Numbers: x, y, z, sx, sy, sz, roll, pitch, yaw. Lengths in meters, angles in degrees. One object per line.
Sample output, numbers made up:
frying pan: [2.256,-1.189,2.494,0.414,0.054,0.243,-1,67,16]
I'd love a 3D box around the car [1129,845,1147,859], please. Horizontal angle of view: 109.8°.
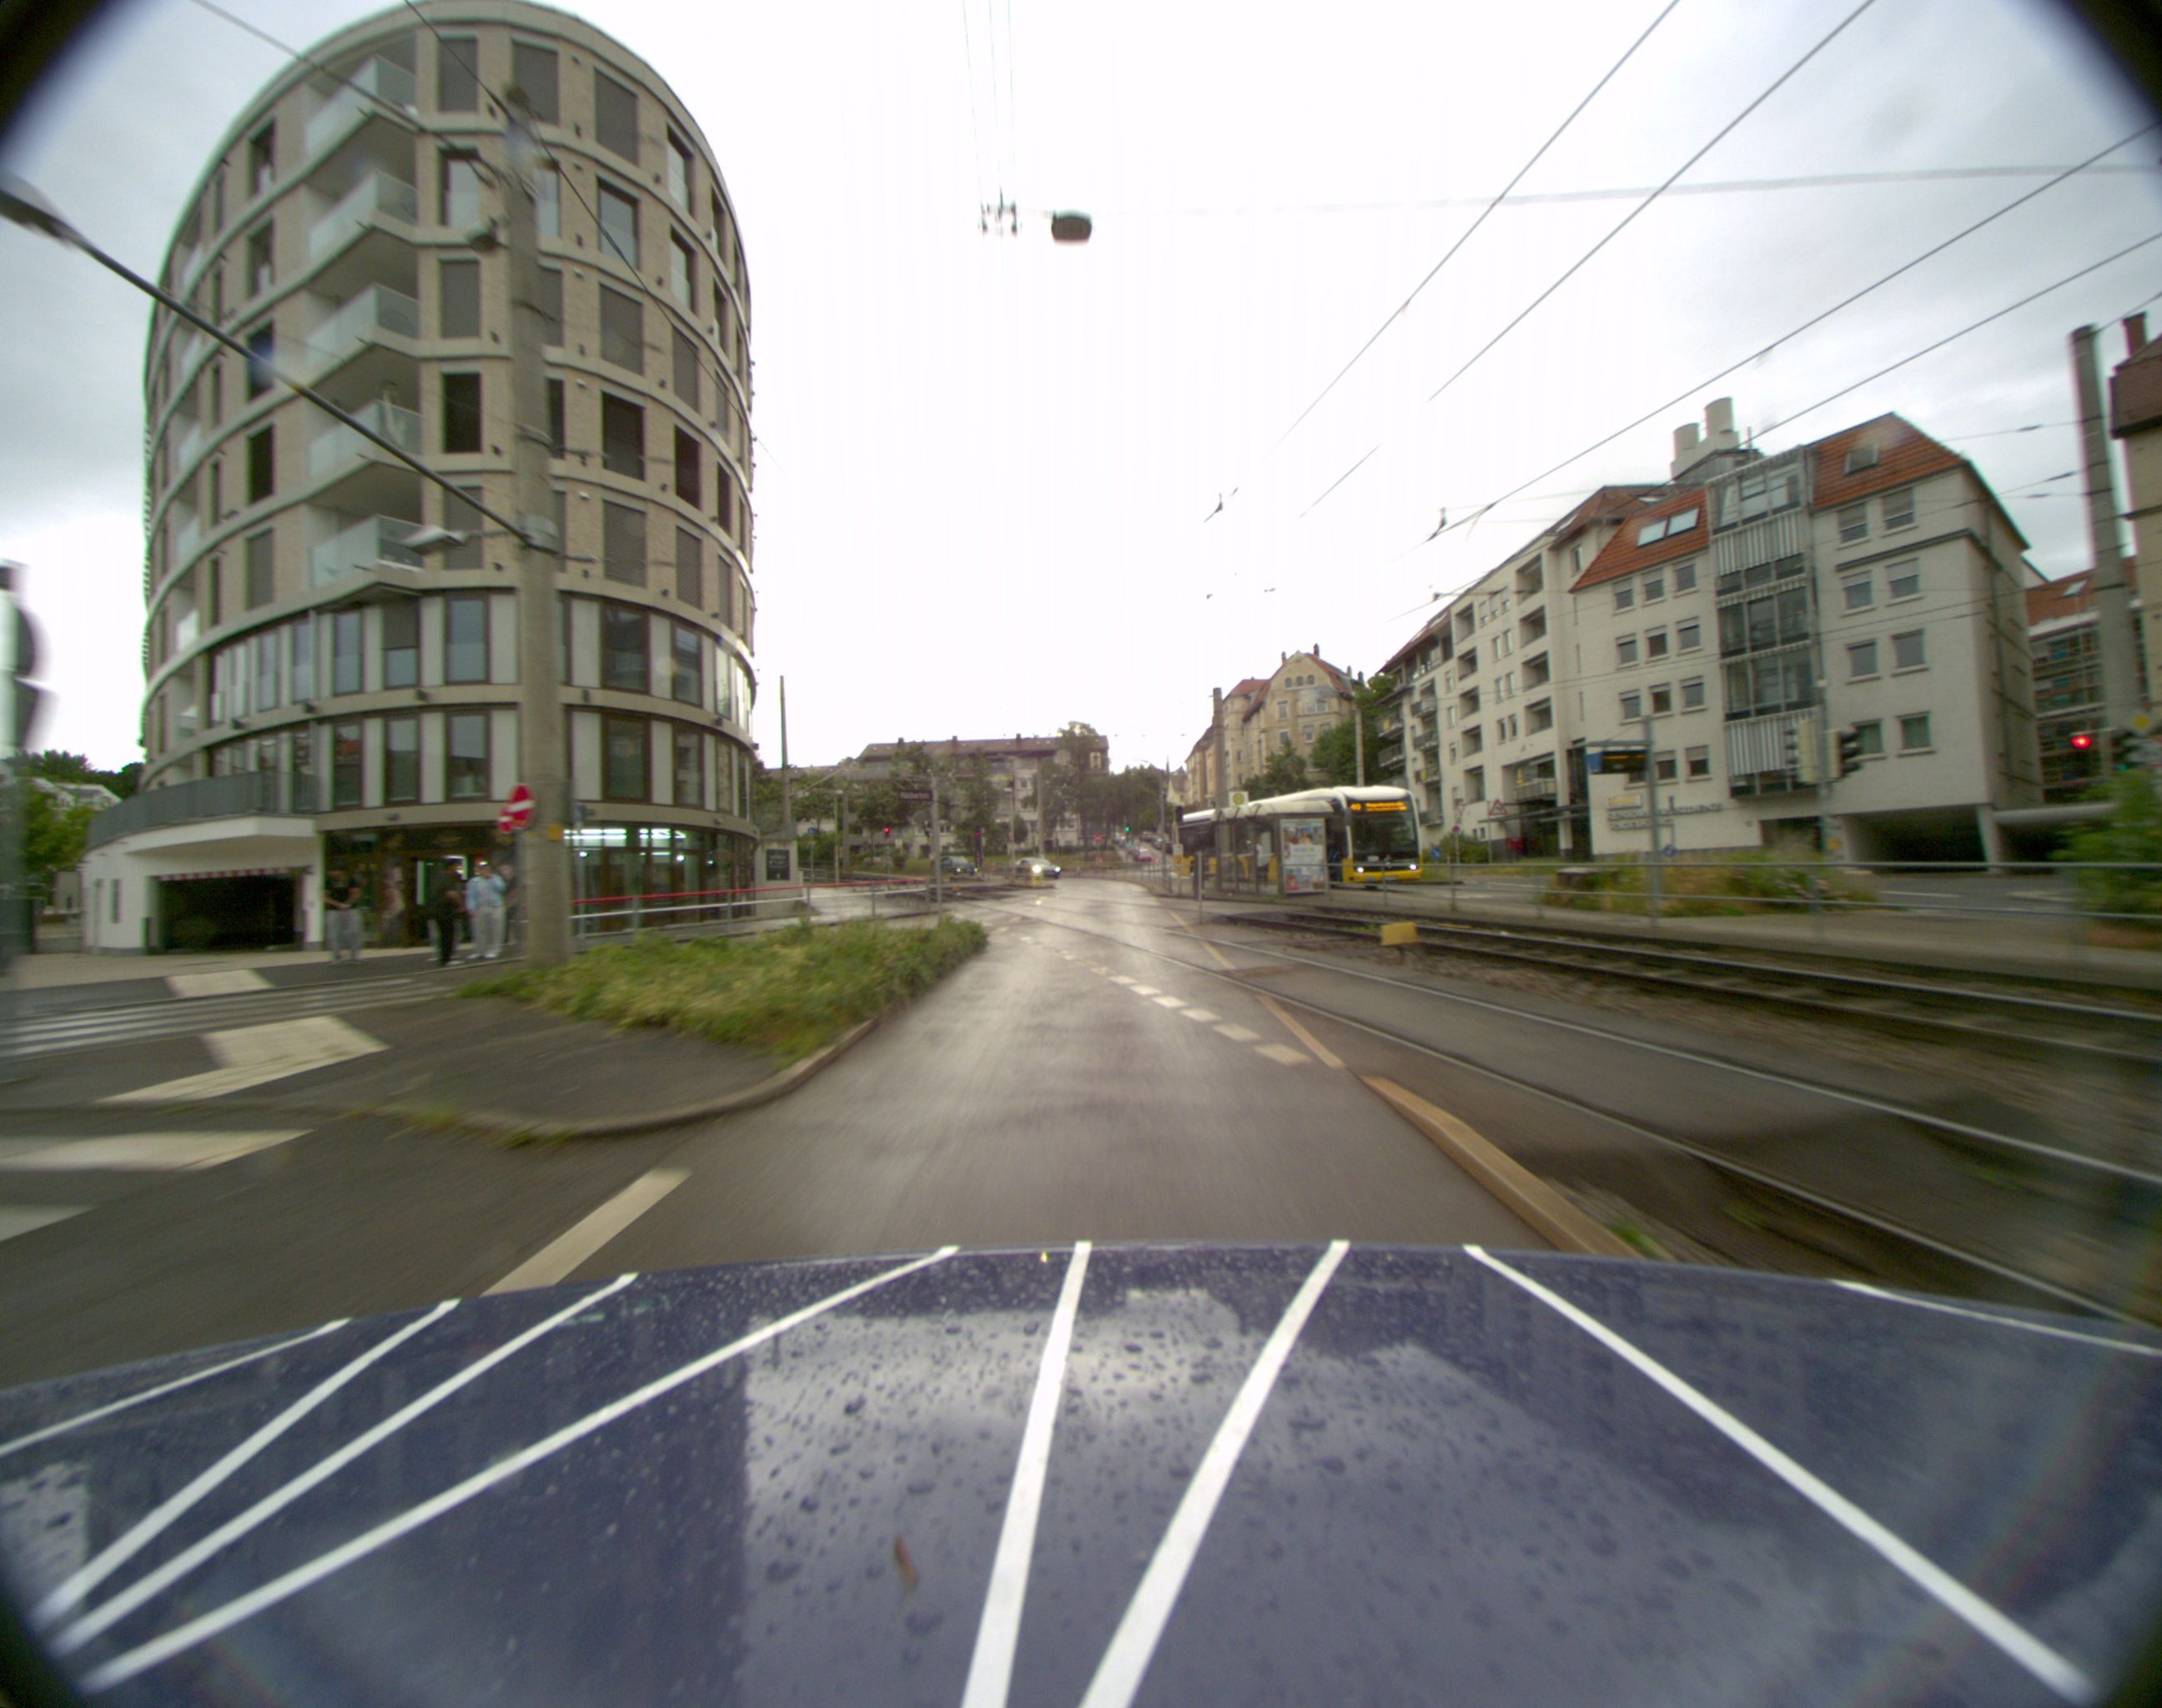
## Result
car: [7.640,-0.320,102.167,1.805,1.824,4.282,0,1,-4]

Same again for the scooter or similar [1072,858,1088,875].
scooter or similar: [-0.077,0.829,52.011,0.435,1.107,1.602,-2,1,-25]

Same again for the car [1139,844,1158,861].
car: [8.079,-0.166,91.298,1.998,2.002,4.000,0,0,2]

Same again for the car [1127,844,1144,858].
car: [7.641,-0.419,107.142,1.805,1.824,4.282,0,1,-4]

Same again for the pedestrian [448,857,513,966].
pedestrian: [-11.392,1.053,14.435,0.658,2.002,0.890,0,0,-14]

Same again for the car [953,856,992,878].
car: [-7.268,0.870,51.147,1.998,1.355,3.999,-1,1,0]

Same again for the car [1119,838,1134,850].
car: [7.162,-1.555,120.264,1.805,1.824,4.282,0,1,-4]

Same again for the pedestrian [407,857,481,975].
pedestrian: [-11.272,1.068,13.469,0.685,2.002,0.785,-1,1,-14]

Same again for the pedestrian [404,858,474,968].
pedestrian: [-12.117,1.085,14.362,0.593,2.002,0.891,0,0,-6]

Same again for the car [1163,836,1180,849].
car: [12.628,-1.592,106.404,1.680,1.824,3.664,0,1,-4]

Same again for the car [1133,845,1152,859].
car: [7.724,-0.281,96.483,1.805,1.824,4.282,0,1,-4]

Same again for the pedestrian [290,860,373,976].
pedestrian: [-13.532,1.127,13.750,0.593,2.002,0.891,-1,1,-6]

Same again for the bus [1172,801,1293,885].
bus: [6.846,-0.496,36.082,2.599,3.449,9.098,0,1,-9]

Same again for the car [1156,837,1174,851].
car: [12.182,-1.471,110.255,1.999,2.002,3.999,0,1,-1]

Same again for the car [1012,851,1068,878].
car: [-2.756,0.669,50.140,1.816,1.607,4.294,-2,1,-32]

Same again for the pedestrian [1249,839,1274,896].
pedestrian: [5.617,0.399,23.621,0.578,1.742,0.543,0,1,-12]
